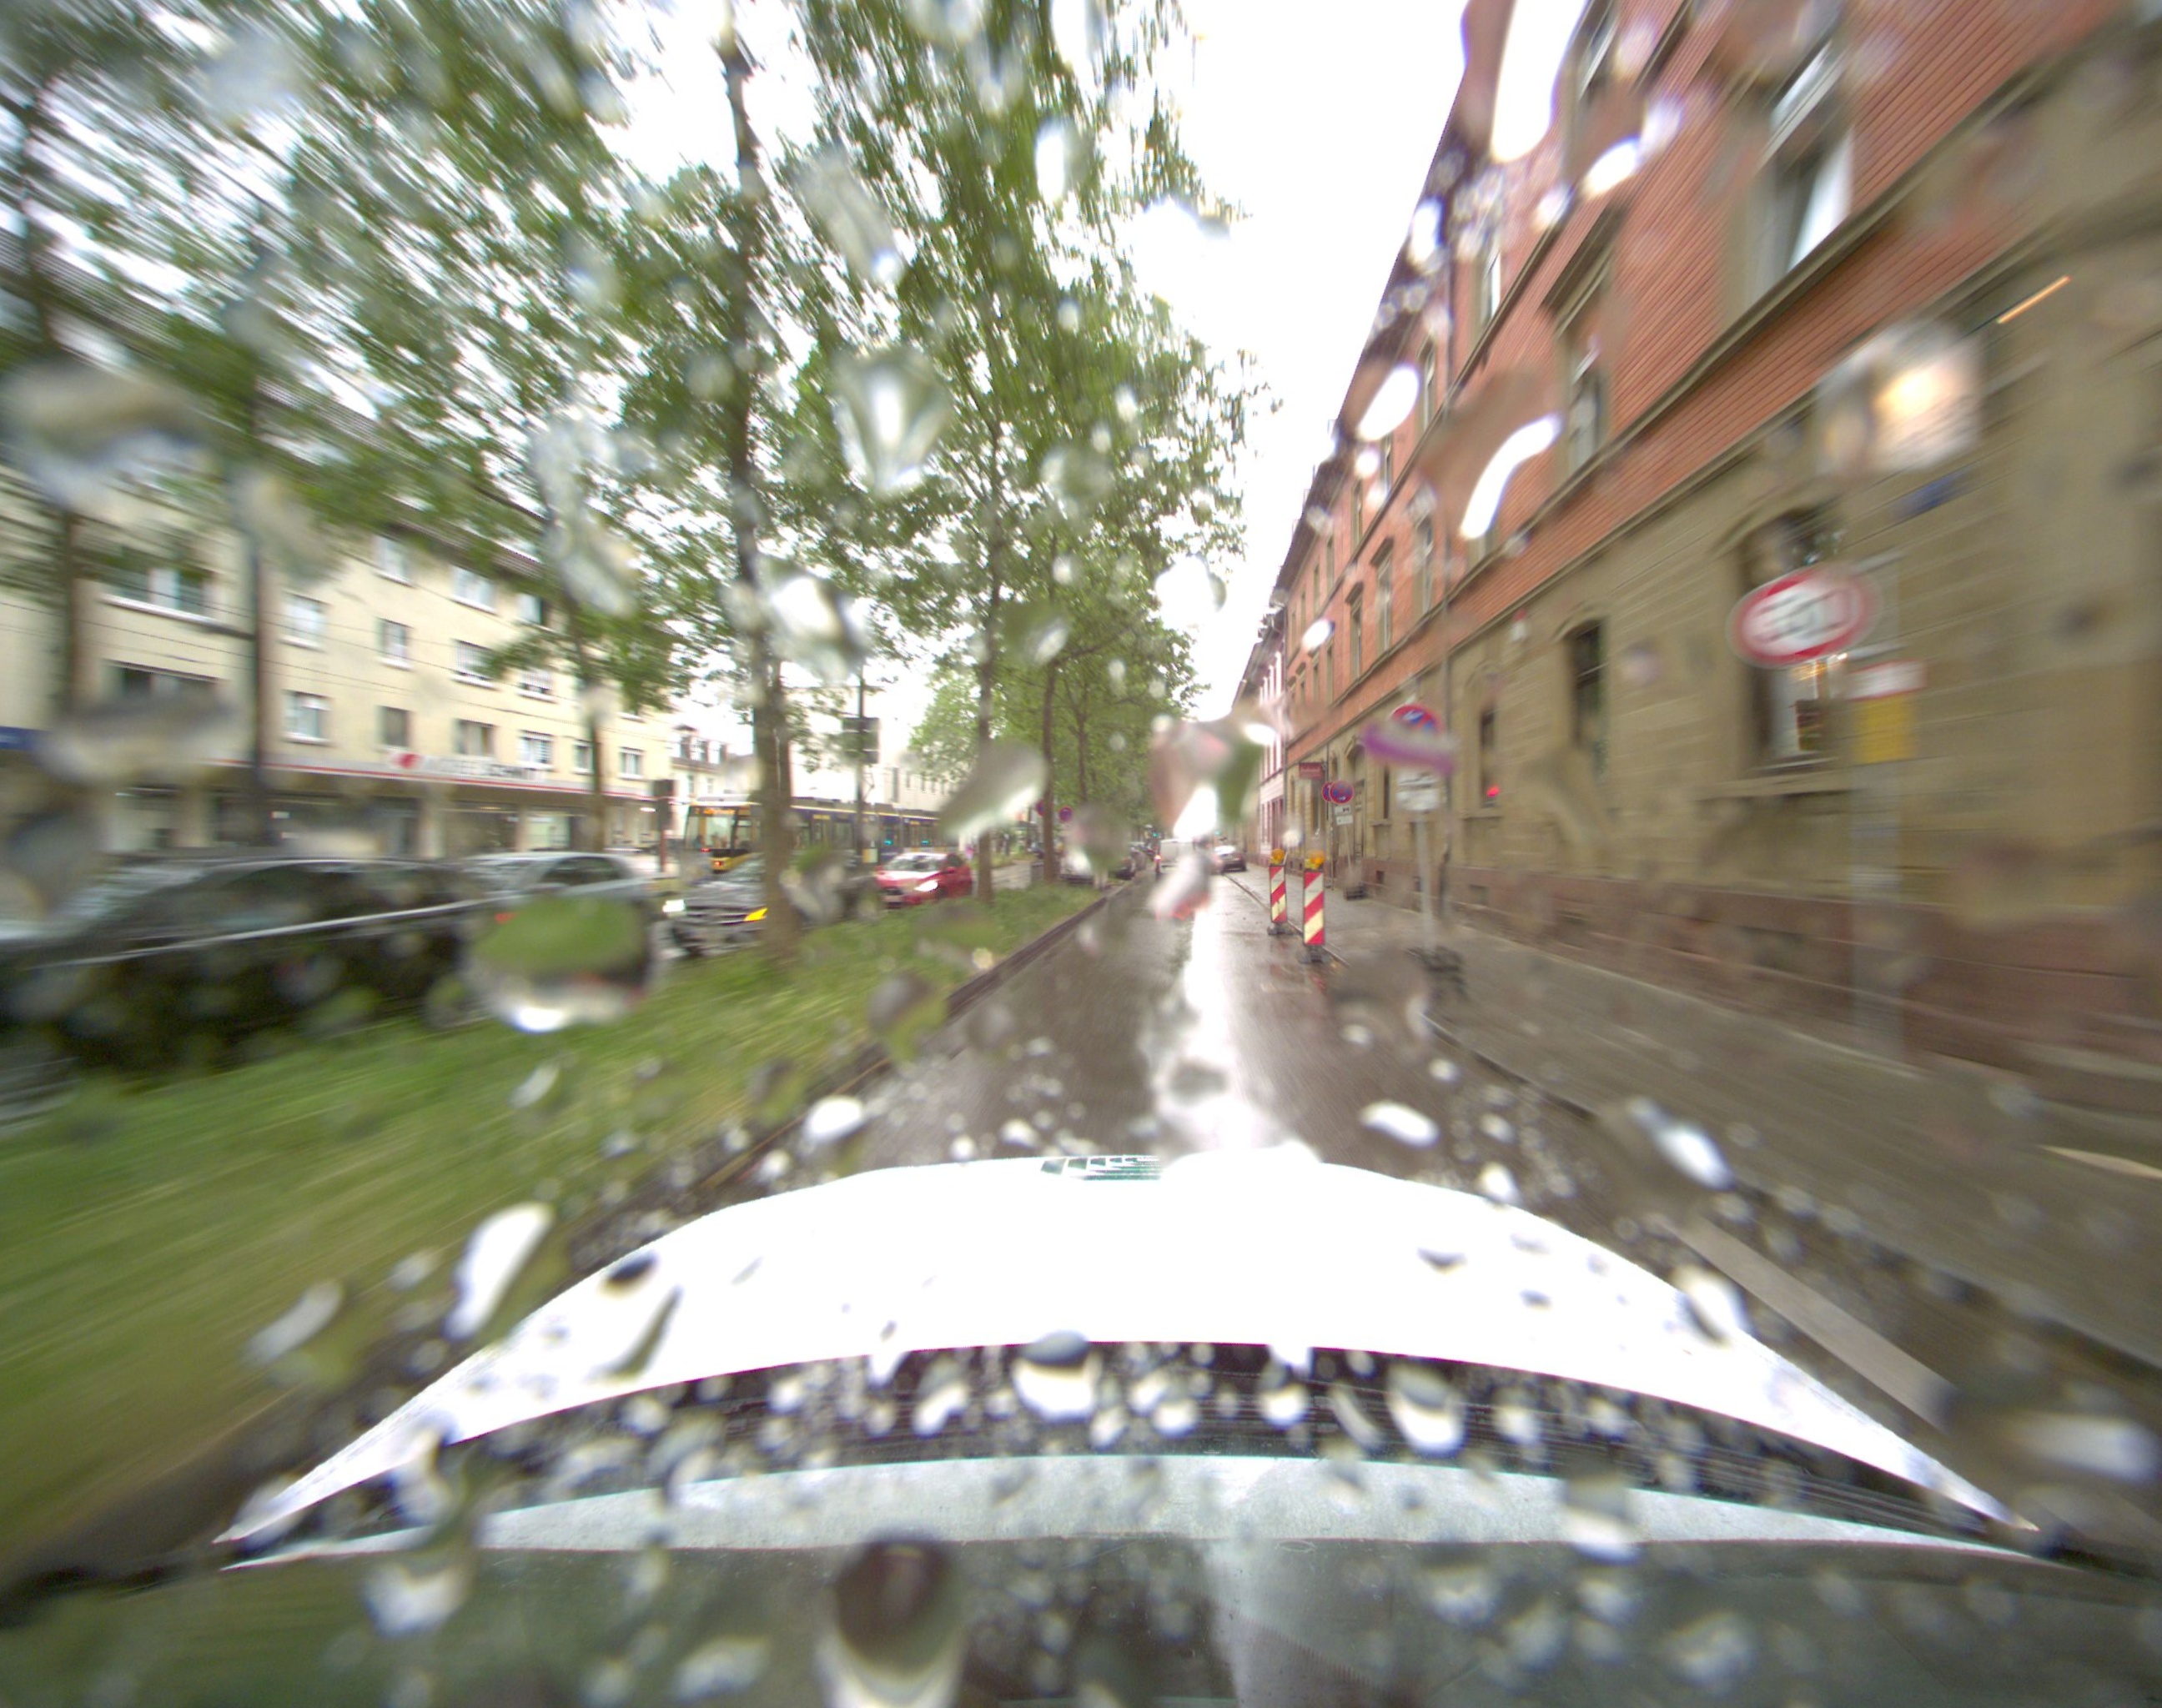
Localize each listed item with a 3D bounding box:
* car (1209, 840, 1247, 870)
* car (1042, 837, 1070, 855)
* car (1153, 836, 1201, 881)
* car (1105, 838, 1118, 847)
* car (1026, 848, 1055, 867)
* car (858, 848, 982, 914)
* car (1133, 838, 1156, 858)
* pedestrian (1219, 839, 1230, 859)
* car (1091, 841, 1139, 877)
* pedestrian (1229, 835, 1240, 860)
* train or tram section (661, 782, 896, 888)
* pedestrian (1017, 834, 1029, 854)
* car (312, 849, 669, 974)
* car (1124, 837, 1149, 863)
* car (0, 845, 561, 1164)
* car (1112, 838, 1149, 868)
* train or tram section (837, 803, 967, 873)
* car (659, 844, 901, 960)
[{"bbox_3d":[7.886,0.025,43.722,1.802,1.420,4.710,-3,0,10],"label":"car"},{"bbox_3d":[-2.273,-0.779,75.614,1.983,1.612,4.008,0,1,6],"label":"car"},{"bbox_3d":[4.073,0.192,34.301,1.893,1.797,4.122,0,0,8],"label":"car"},{"bbox_3d":[5.083,-1.950,137.187,1.988,1.581,3.997,0,1,-2],"label":"car"},{"bbox_3d":[-3.268,0.271,66.946,1.730,1.343,3.763,3,1,6],"label":"car"},{"bbox_3d":[-3.819,0.567,20.051,1.732,1.397,4.242,0,1,7],"label":"car"},{"bbox_3d":[5.146,-0.461,65.396,1.640,1.500,4.127,2,1,7],"label":"car"},{"bbox_3d":[12.857,-0.487,73.047,0.835,1.716,1.110,-3,1,7],"label":"pedestrian"},{"bbox_3d":[1.625,0.175,37.346,1.819,1.503,4.622,1,1,6],"label":"car"},{"bbox_3d":[10.652,-0.428,56.522,0.635,1.684,0.604,-3,0,6],"label":"pedestrian"},{"bbox_3d":[-11.880,-0.678,34.725,3.090,3.558,14.605,0,0,7],"label":"train or tram section"},{"bbox_3d":[-4.834,-0.836,67.649,0.814,1.703,0.874,0,1,6],"label":"pedestrian"},{"bbox_3d":[-7.999,0.660,11.628,1.732,1.397,4.139,0,1,7],"label":"car"},{"bbox_3d":[3.836,-0.309,56.179,1.616,1.681,3.664,1,2,4],"label":"car"},{"bbox_3d":[-5.930,0.711,5.182,1.846,1.485,4.650,0,1,7],"label":"car"},{"bbox_3d":[2.834,-0.091,46.285,1.689,1.635,4.366,0,1,9],"label":"car"},{"bbox_3d":[-10.241,-0.870,49.181,3.090,3.558,14.702,0,0,6],"label":"train or tram section"},{"bbox_3d":[-4.502,0.609,13.019,1.732,1.480,4.441,0,1,7],"label":"car"}]
